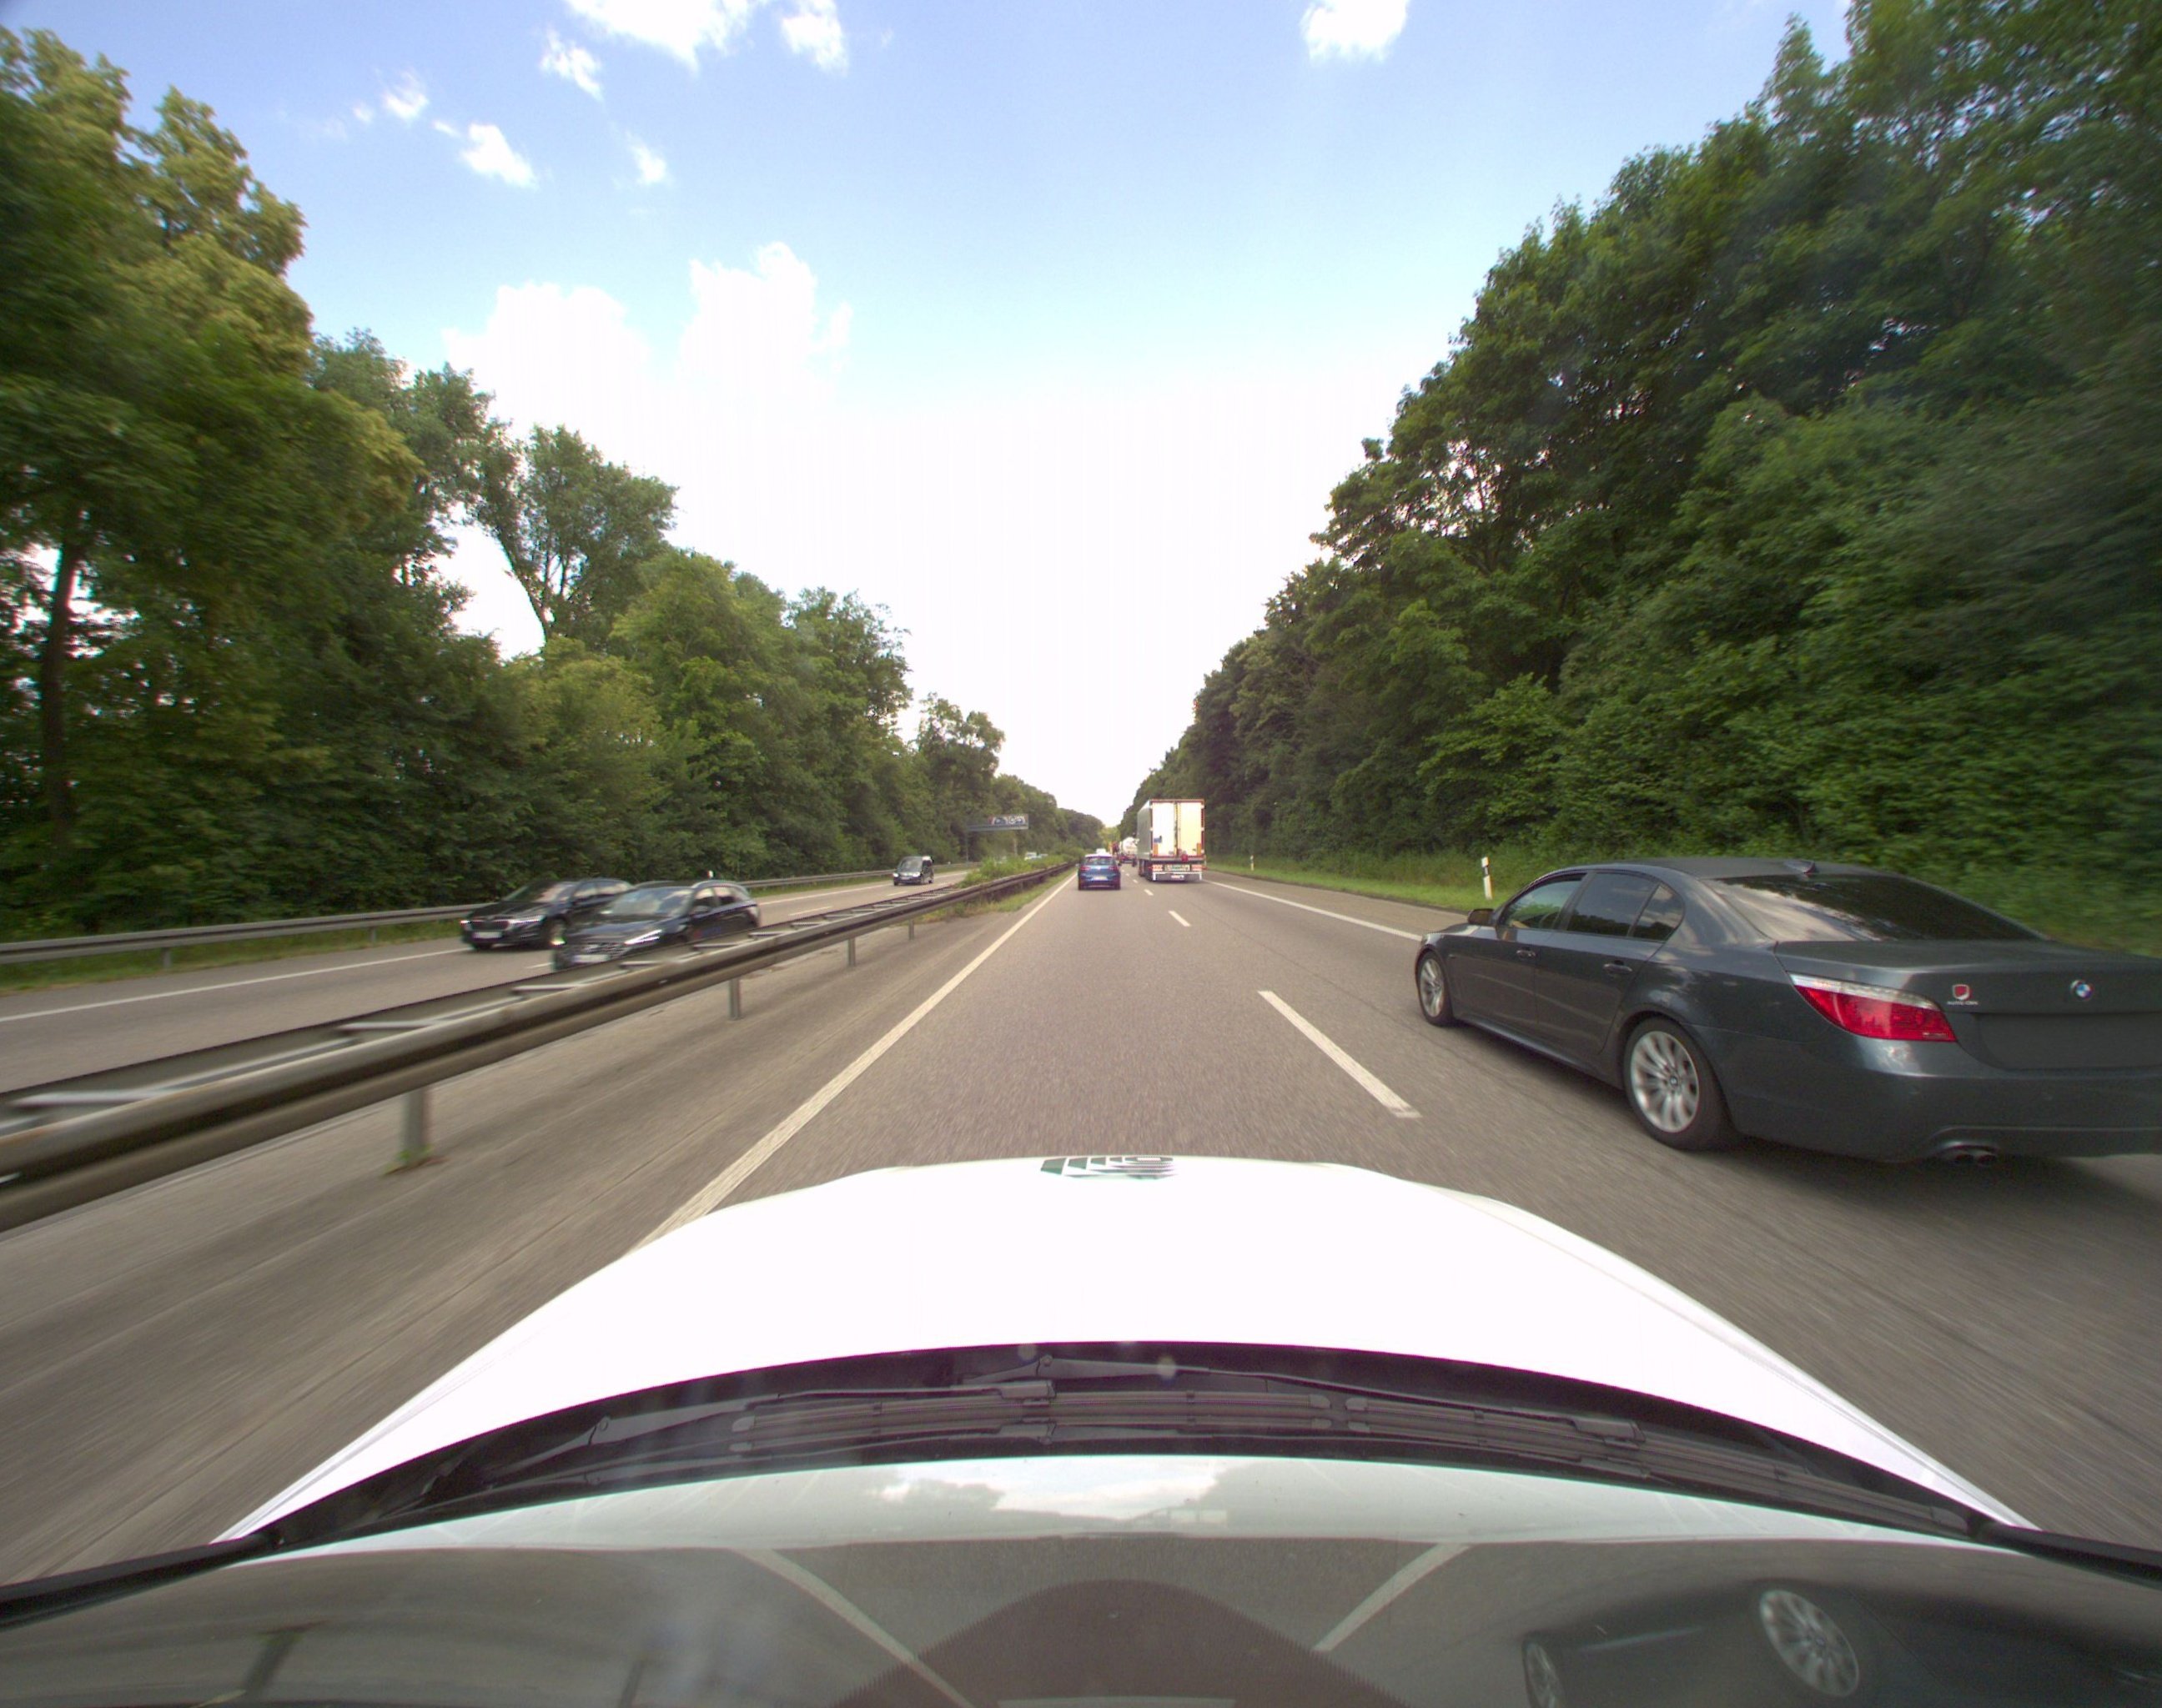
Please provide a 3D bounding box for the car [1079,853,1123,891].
[{"bbox_3d":[0.828,0.708,34.167,1.699,1.470,4.001,-1,0,1],"label":"car"}]

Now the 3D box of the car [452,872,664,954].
[{"bbox_3d":[-11.816,1.249,18.889,1.674,1.519,4.860,-1,0,1],"label":"car"}]

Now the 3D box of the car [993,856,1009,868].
[{"bbox_3d":[-9.882,0.984,100.790,1.531,1.396,3.512,-2,0,1],"label":"car"}]

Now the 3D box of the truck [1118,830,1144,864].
[{"bbox_3d":[6.815,-0.845,112.680,3.220,4.386,12.976,-1,0,2],"label":"truck"}]

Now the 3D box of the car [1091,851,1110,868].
[{"bbox_3d":[1.824,0.459,74.139,1.659,1.500,4.154,-1,0,2],"label":"car"}]

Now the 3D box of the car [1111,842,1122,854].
[{"bbox_3d":[7.372,-1.295,168.861,1.988,2.327,4.440,-2,0,-1],"label":"car"}]

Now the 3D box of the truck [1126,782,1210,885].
[{"bbox_3d":[4.353,-0.991,43.465,3.231,4.715,11.007,-2,0,0],"label":"truck"}]

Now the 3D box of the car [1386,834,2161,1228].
[{"bbox_3d":[3.816,0.656,5.512,1.768,1.475,4.881,-1,0,1],"label":"car"}]

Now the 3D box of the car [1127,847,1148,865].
[{"bbox_3d":[5.752,0.205,83.283,1.881,1.729,4.002,-2,0,2],"label":"car"}]

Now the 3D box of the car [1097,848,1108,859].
[{"bbox_3d":[4.436,-0.128,169.966,1.988,2.255,4.440,-2,0,-1],"label":"car"}]

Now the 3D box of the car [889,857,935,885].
[{"bbox_3d":[-10.651,1.052,51.621,1.754,1.593,4.634,-2,0,1],"label":"car"}]

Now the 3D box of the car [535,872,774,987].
[{"bbox_3d":[-7.109,1.159,14.168,1.774,1.519,4.267,-2,0,1],"label":"car"}]
